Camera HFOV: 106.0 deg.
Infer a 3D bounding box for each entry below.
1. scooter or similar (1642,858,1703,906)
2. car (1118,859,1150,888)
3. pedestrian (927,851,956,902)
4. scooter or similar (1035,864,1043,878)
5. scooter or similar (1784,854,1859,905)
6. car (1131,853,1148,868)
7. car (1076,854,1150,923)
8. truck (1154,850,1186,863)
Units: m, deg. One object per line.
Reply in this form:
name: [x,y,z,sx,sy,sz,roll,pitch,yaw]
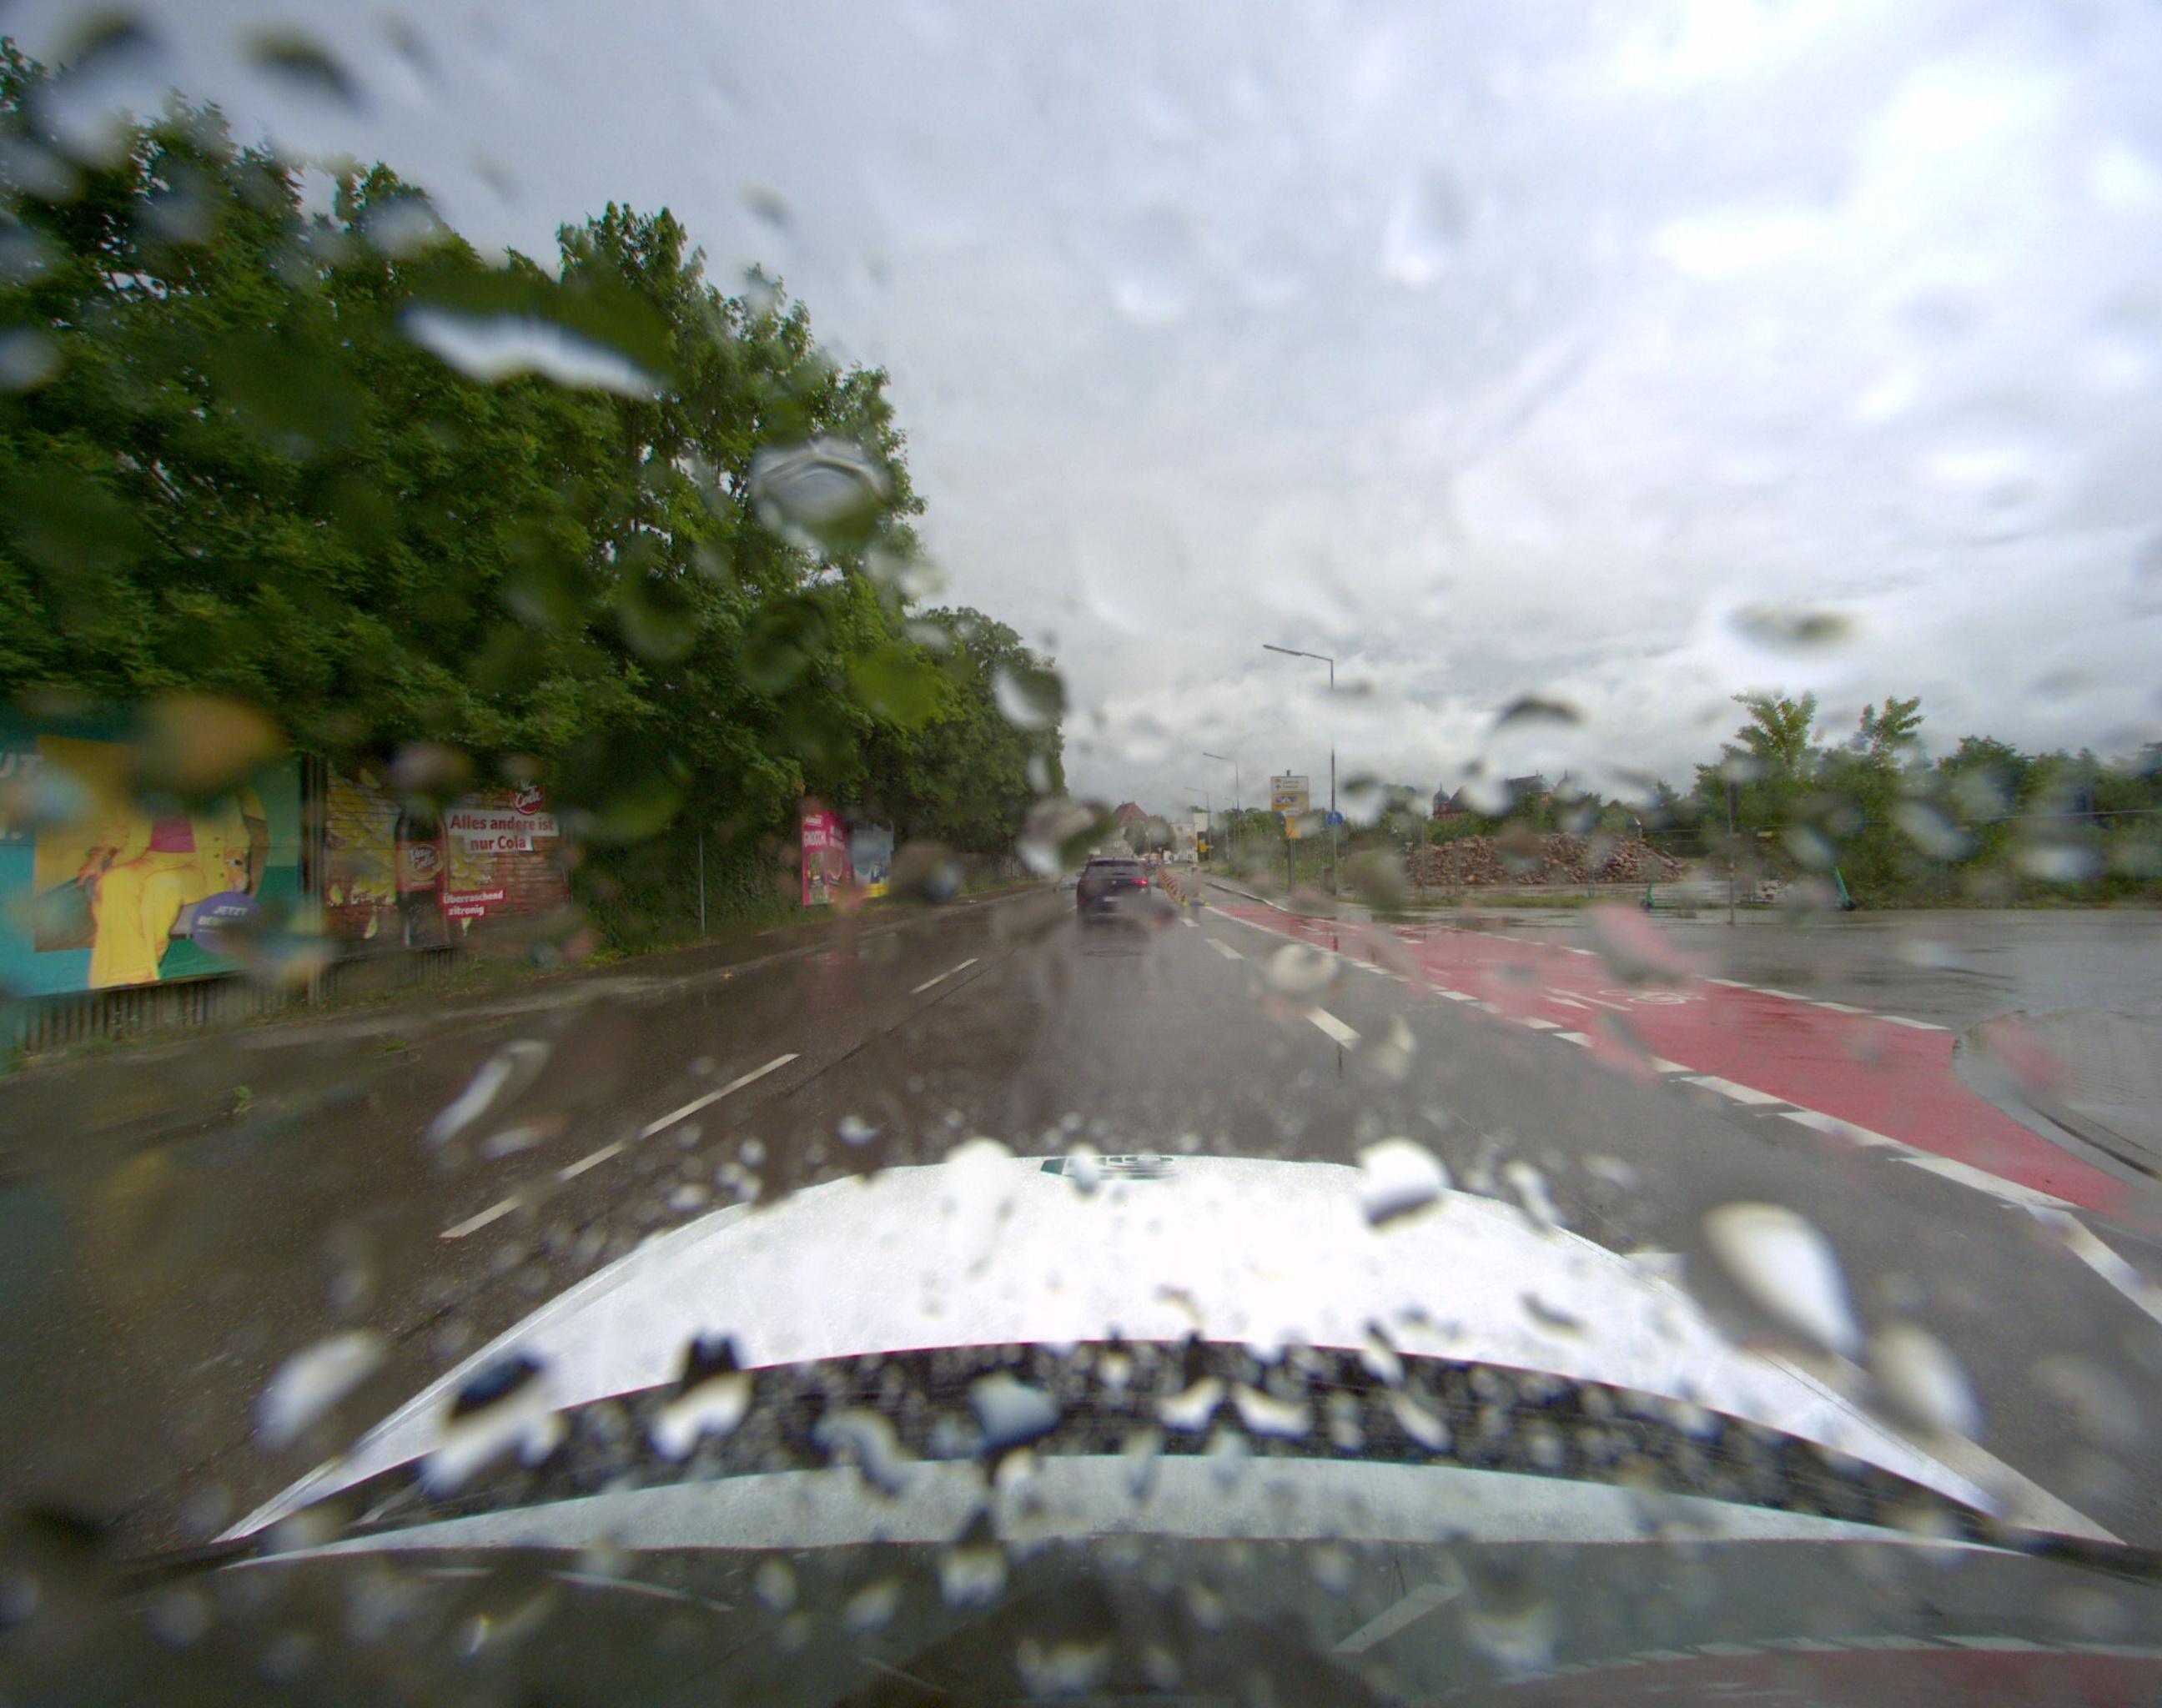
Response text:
scooter or similar: [14.588,0.695,20.091,1.179,1.150,0.486,-2,-1,38]
car: [2.958,1.064,45.755,1.728,1.514,3.606,-1,0,3]
pedestrian: [-4.966,0.803,28.978,0.835,1.769,0.645,-2,-1,4]
scooter or similar: [-3.558,1.420,69.085,0.561,1.162,1.207,-1,-1,-3]
scooter or similar: [17.147,0.587,18.893,1.179,1.150,0.752,-2,-1,37]
car: [7.049,0.775,98.345,1.857,1.809,4.406,-1,0,2]
car: [0.800,0.824,20.827,1.702,1.574,3.684,0,-1,2]
truck: [19.695,0.546,180.077,7.030,2.650,2.334,-1,0,6]
